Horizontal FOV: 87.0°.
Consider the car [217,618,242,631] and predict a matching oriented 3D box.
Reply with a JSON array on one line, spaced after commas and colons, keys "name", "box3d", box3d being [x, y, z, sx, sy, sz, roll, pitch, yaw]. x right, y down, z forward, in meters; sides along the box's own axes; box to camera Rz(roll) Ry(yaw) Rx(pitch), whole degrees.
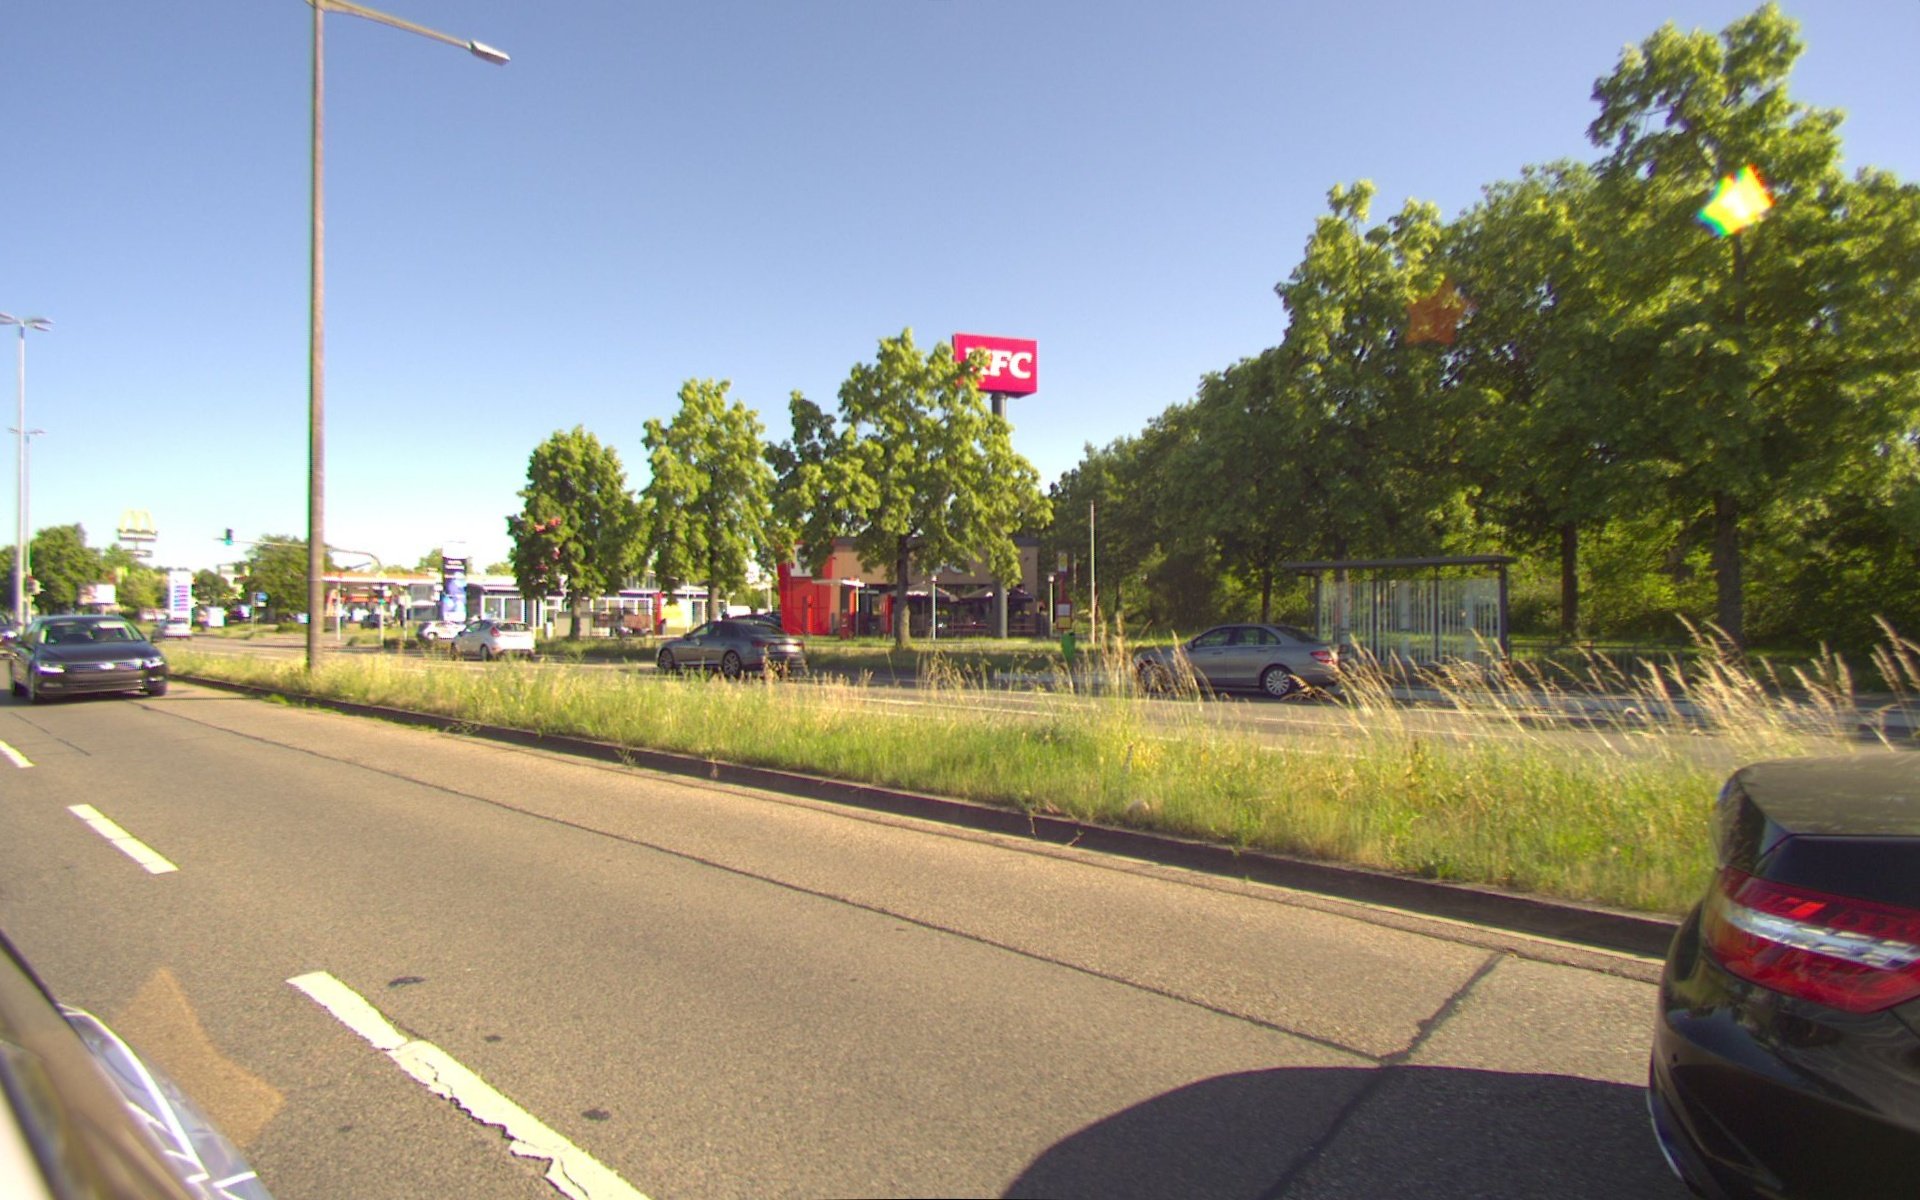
[{"name": "car", "box3d": [-98.513, 3.287, 136.511, 4.117, 1.625, 1.739, -1, -3, 40]}]

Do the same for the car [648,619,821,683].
[{"name": "car", "box3d": [-5.699, 1.230, 25.249, 4.629, 1.446, 1.798, -1, -3, 41]}]

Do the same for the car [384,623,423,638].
[{"name": "car", "box3d": [-52.401, 2.836, 95.256, 4.117, 1.335, 1.876, -1, -3, 40]}]

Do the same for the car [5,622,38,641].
[{"name": "car", "box3d": [-89.120, 2.981, 96.093, 4.169, 1.654, 1.854, -1, -3, 42]}]

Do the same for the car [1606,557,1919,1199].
[{"name": "car", "box3d": [3.670, 0.648, 0.947, 4.917, 1.494, 1.938, -1, -1, 42]}]

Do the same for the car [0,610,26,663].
[{"name": "car", "box3d": [-32.729, 1.210, 33.674, 4.694, 1.696, 1.972, -1, 0, 42]}]

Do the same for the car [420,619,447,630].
[{"name": "car", "box3d": [-70.847, 3.342, 136.223, 4.117, 1.451, 1.749, -1, -2, 40]}]

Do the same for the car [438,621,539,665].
[{"name": "car", "box3d": [-16.425, 1.477, 35.160, 4.110, 1.462, 1.623, -1, -3, 41]}]

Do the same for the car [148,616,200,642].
[{"name": "car", "box3d": [-53.186, 1.939, 68.449, 4.175, 1.697, 1.972, -1, -3, 42]}]

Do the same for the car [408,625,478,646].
[{"name": "car", "box3d": [-37.828, 2.564, 74.137, 1.999, 1.485, 4.139, -1, -2, 40]}]

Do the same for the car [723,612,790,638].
[{"name": "car", "box3d": [-13.760, 1.677, 68.501, 4.182, 1.674, 1.896, -1, 0, -1]}]

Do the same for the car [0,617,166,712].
[{"name": "car", "box3d": [-15.632, 1.048, 17.892, 4.264, 1.464, 1.824, -1, -1, 42]}]

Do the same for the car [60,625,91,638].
[{"name": "car", "box3d": [-97.427, 3.452, 111.446, 4.621, 1.387, 1.972, -1, -2, 41]}]

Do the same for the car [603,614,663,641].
[{"name": "car", "box3d": [-23.796, 1.961, 73.797, 3.778, 1.864, 1.846, -1, 0, 2]}]

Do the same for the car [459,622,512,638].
[{"name": "car", "box3d": [-44.625, 2.824, 95.298, 1.901, 1.443, 4.062, -1, -3, 41]}]

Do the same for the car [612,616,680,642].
[{"name": "car", "box3d": [-21.505, 1.986, 69.420, 4.074, 1.674, 1.896, -1, 0, -1]}]

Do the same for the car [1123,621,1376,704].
[{"name": "car", "box3d": [5.695, 1.184, 20.233, 4.488, 1.466, 1.894, -1, -3, 41]}]
